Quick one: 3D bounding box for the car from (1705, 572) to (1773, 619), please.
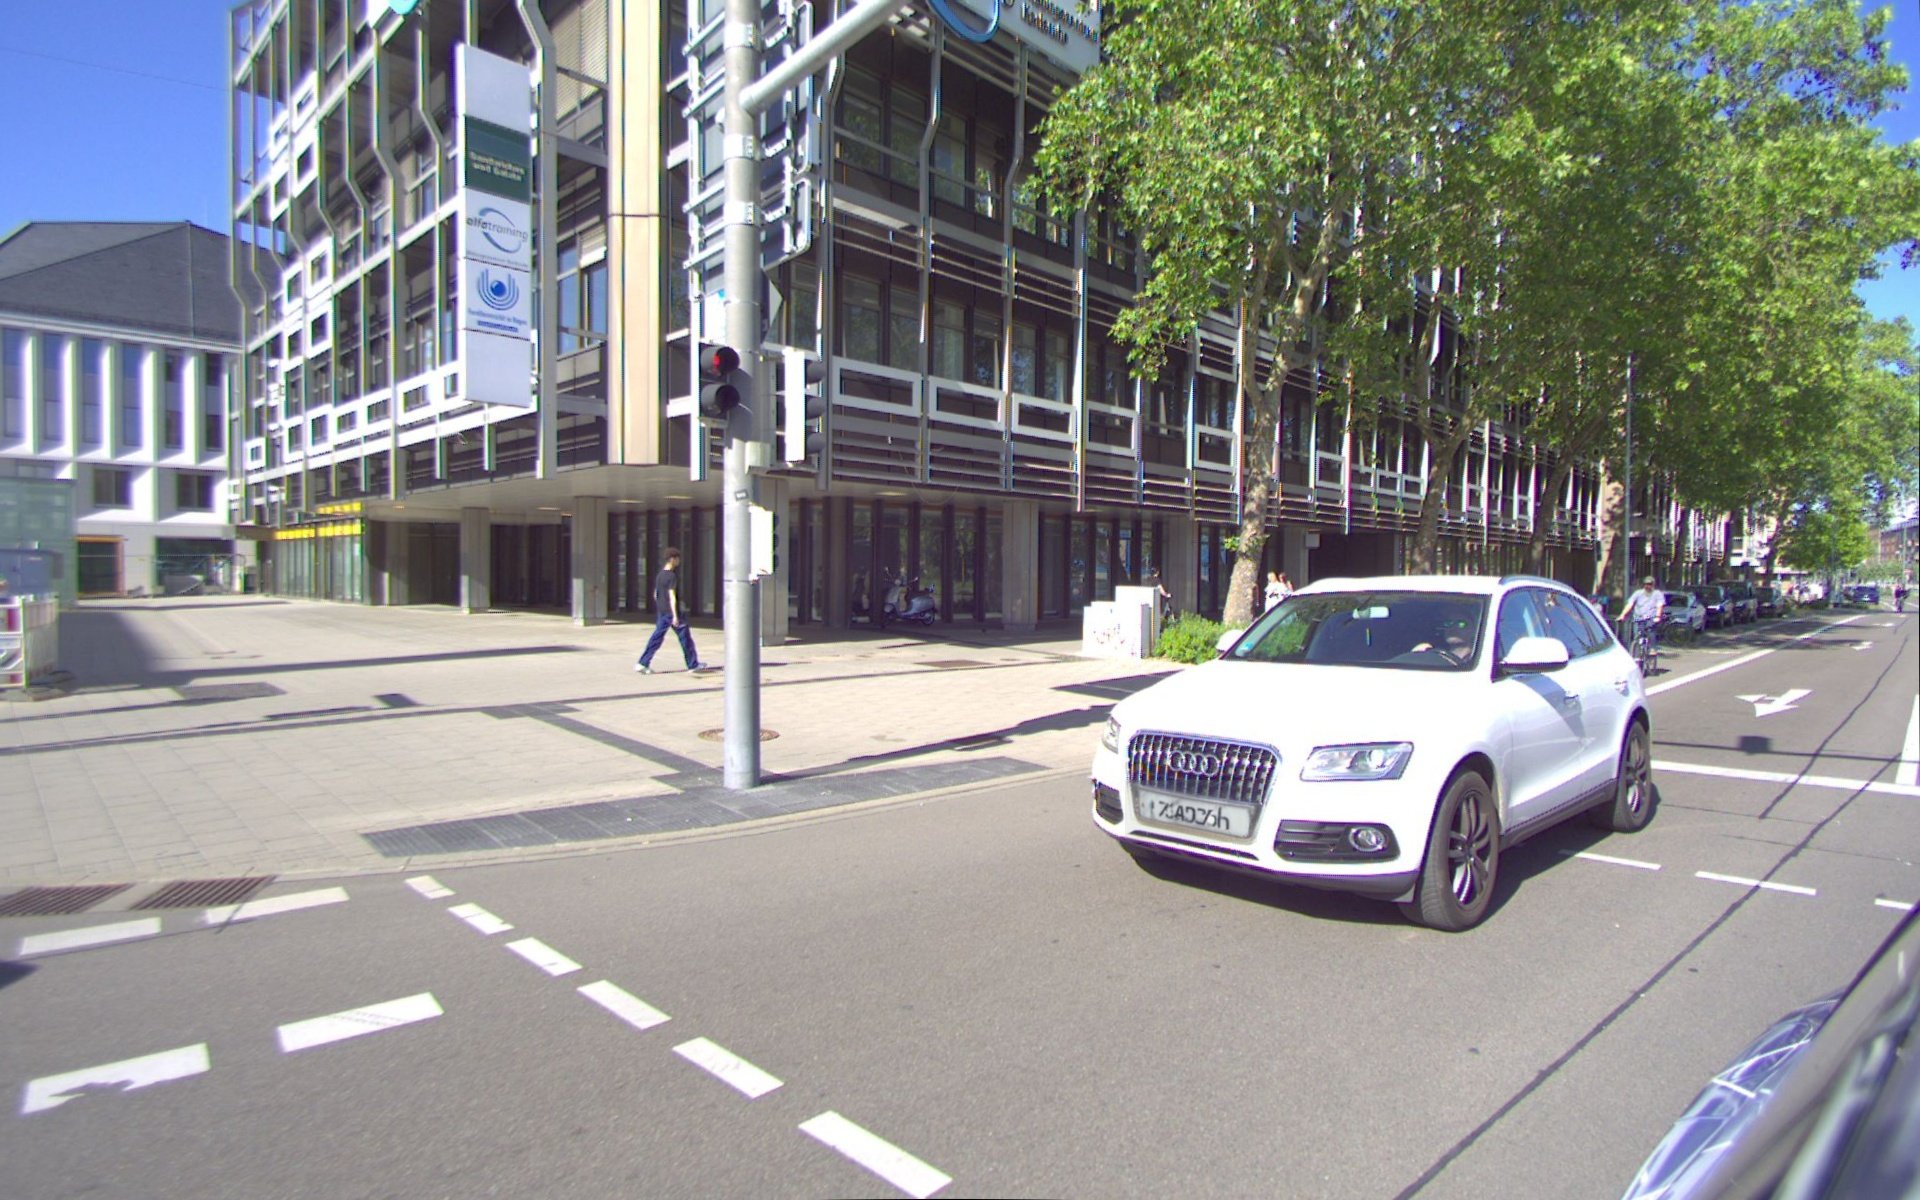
[{"bbox_3d":[33.453,-0.224,43.425,1.749,1.843,4.268,4,3,44],"label":"car"}]

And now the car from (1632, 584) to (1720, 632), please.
[{"bbox_3d":[24.706,0.223,34.854,1.749,1.508,4.487,4,3,44],"label":"car"}]

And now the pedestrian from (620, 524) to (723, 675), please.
[{"bbox_3d":[-4.093,-0.024,14.365,0.944,2.039,1.065,1,1,38],"label":"pedestrian"}]

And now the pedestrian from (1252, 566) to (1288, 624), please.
[{"bbox_3d":[8.962,-0.165,29.299,0.716,1.620,0.667,0,3,-45],"label":"pedestrian"}]

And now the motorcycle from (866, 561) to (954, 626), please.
[{"bbox_3d":[-1.168,-0.172,24.044,0.823,1.459,2.088,2,2,45],"label":"motorcycle"}]

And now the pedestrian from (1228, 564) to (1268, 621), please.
[{"bbox_3d":[8.491,-0.223,29.870,0.993,1.620,0.667,0,3,-45],"label":"pedestrian"}]

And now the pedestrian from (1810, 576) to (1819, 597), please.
[{"bbox_3d":[76.672,-1.182,90.809,0.590,1.863,0.685,1,1,44],"label":"pedestrian"}]

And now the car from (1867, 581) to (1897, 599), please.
[{"bbox_3d":[86.015,-0.942,94.408,1.993,1.627,3.836,1,1,43],"label":"car"}]

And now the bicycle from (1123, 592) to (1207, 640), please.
[{"bbox_3d":[4.633,0.331,22.793,0.881,0.997,2.018,2,2,44],"label":"bicycle"}]

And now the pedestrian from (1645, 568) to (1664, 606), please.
[{"bbox_3d":[37.780,-0.702,55.057,0.615,2.039,0.740,0,1,-42],"label":"pedestrian"}]

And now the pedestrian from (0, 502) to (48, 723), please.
[{"bbox_3d":[-9.349,0.105,9.430,0.943,2.038,1.067,1,1,34],"label":"pedestrian"}]

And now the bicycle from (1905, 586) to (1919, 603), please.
[{"bbox_3d":[66.284,-0.382,70.306,2.512,1.144,0.843,-1,1,-45],"label":"bicycle"}]

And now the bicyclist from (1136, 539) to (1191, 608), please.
[{"bbox_3d":[4.559,-0.589,22.681,0.881,1.495,0.869,2,1,45],"label":"bicyclist"}]

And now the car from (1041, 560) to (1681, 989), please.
[{"bbox_3d":[2.622,0.627,5.994,4.337,1.633,1.822,-1,1,-42],"label":"car"}]

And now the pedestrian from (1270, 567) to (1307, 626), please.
[{"bbox_3d":[9.281,-0.119,28.625,0.716,1.620,0.667,0,3,-44],"label":"pedestrian"}]

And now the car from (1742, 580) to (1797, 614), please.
[{"bbox_3d":[41.238,-0.176,51.516,1.749,1.573,4.268,4,3,44],"label":"car"}]

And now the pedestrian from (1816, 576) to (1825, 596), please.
[{"bbox_3d":[79.214,-1.307,93.177,0.590,1.863,0.560,1,1,45],"label":"pedestrian"}]

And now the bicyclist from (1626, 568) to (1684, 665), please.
[{"bbox_3d":[12.527,0.288,18.248,0.709,1.709,0.839,-2,-1,44],"label":"bicyclist"}]

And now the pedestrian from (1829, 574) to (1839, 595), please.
[{"bbox_3d":[76.693,-1.337,88.783,0.590,1.863,0.560,1,1,45],"label":"pedestrian"}]

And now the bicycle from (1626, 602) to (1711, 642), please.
[{"bbox_3d":[19.847,0.588,28.364,1.842,0.972,0.701,4,3,41],"label":"bicycle"}]

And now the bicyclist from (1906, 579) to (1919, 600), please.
[{"bbox_3d":[66.295,-0.725,70.298,0.889,1.405,0.829,0,1,-45],"label":"bicyclist"}]

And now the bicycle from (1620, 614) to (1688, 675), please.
[{"bbox_3d":[12.524,0.770,18.236,0.709,1.006,1.893,-2,-1,43],"label":"bicycle"}]

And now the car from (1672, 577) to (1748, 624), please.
[{"bbox_3d":[29.329,-0.015,39.529,1.749,1.653,4.268,4,3,44],"label":"car"}]
